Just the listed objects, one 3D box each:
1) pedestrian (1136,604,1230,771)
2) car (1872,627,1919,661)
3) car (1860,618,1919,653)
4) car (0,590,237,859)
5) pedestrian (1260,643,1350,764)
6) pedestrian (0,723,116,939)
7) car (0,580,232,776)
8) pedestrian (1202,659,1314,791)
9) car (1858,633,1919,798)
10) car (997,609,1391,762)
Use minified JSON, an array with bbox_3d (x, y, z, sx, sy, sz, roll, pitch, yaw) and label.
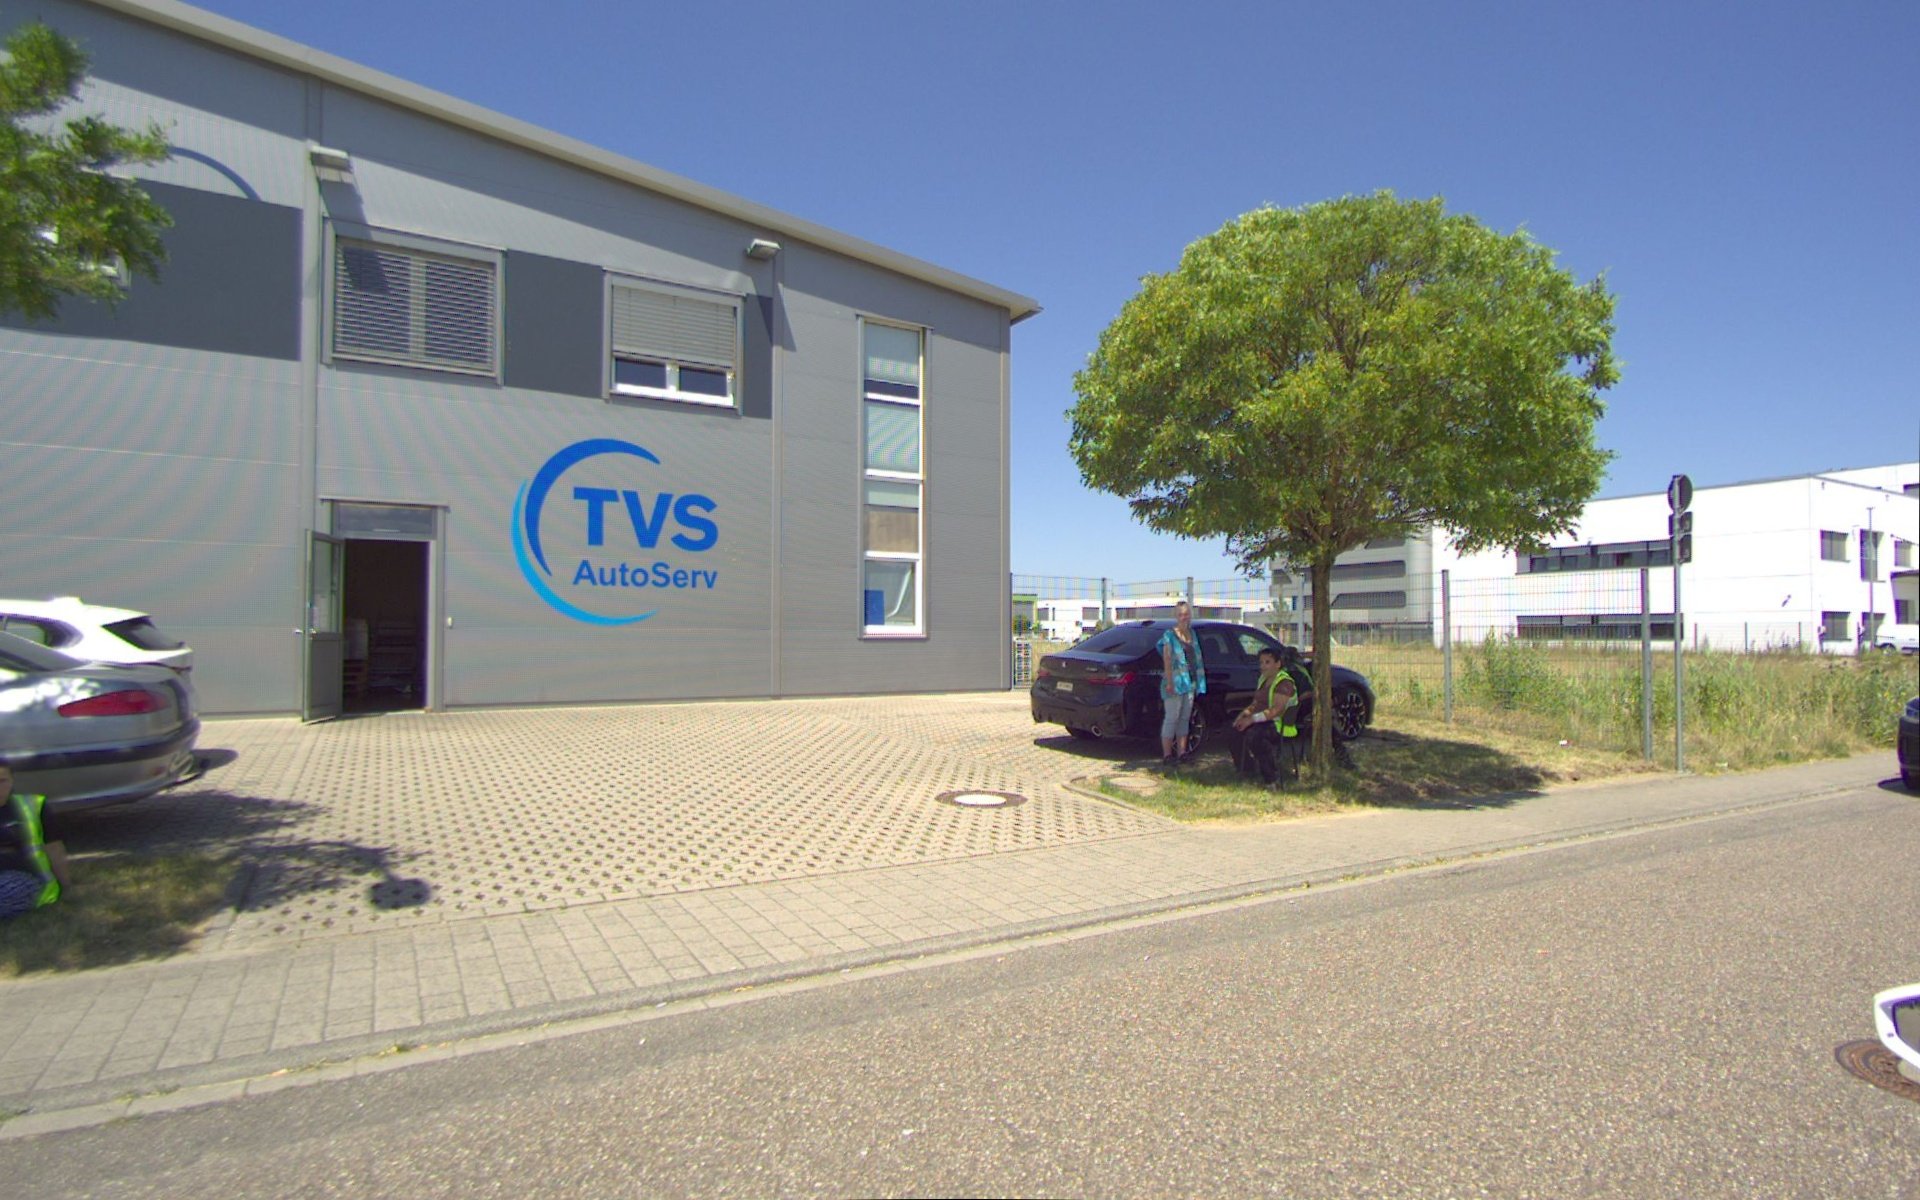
[{"bbox_3d":[2.260,0.865,10.205,0.743,1.616,0.503,1,1,-29],"label":"pedestrian"},{"bbox_3d":[56.115,2.535,58.138,2.007,1.968,4.508,1,-3,-30],"label":"car"},{"bbox_3d":[53.690,1.995,56.257,2.007,1.968,4.508,1,-3,-30],"label":"car"},{"bbox_3d":[-7.204,0.639,5.702,4.785,1.460,1.917,3,0,-30],"label":"car"},{"bbox_3d":[3.661,1.078,10.675,0.743,1.207,0.503,1,1,-29],"label":"pedestrian"},{"bbox_3d":[-4.716,1.070,4.811,0.743,0.759,1.353,1,1,-28],"label":"pedestrian"},{"bbox_3d":[-8.626,0.564,7.955,4.412,1.484,1.917,1,0,-30],"label":"car"},{"bbox_3d":[2.772,1.133,9.381,0.638,1.113,0.748,1,1,-26],"label":"pedestrian"},{"bbox_3d":[11.280,1.138,10.373,4.143,1.588,1.917,1,-3,-32],"label":"car"},{"bbox_3d":[2.908,0.913,12.126,4.640,1.484,1.916,1,0,-32],"label":"car"}]
